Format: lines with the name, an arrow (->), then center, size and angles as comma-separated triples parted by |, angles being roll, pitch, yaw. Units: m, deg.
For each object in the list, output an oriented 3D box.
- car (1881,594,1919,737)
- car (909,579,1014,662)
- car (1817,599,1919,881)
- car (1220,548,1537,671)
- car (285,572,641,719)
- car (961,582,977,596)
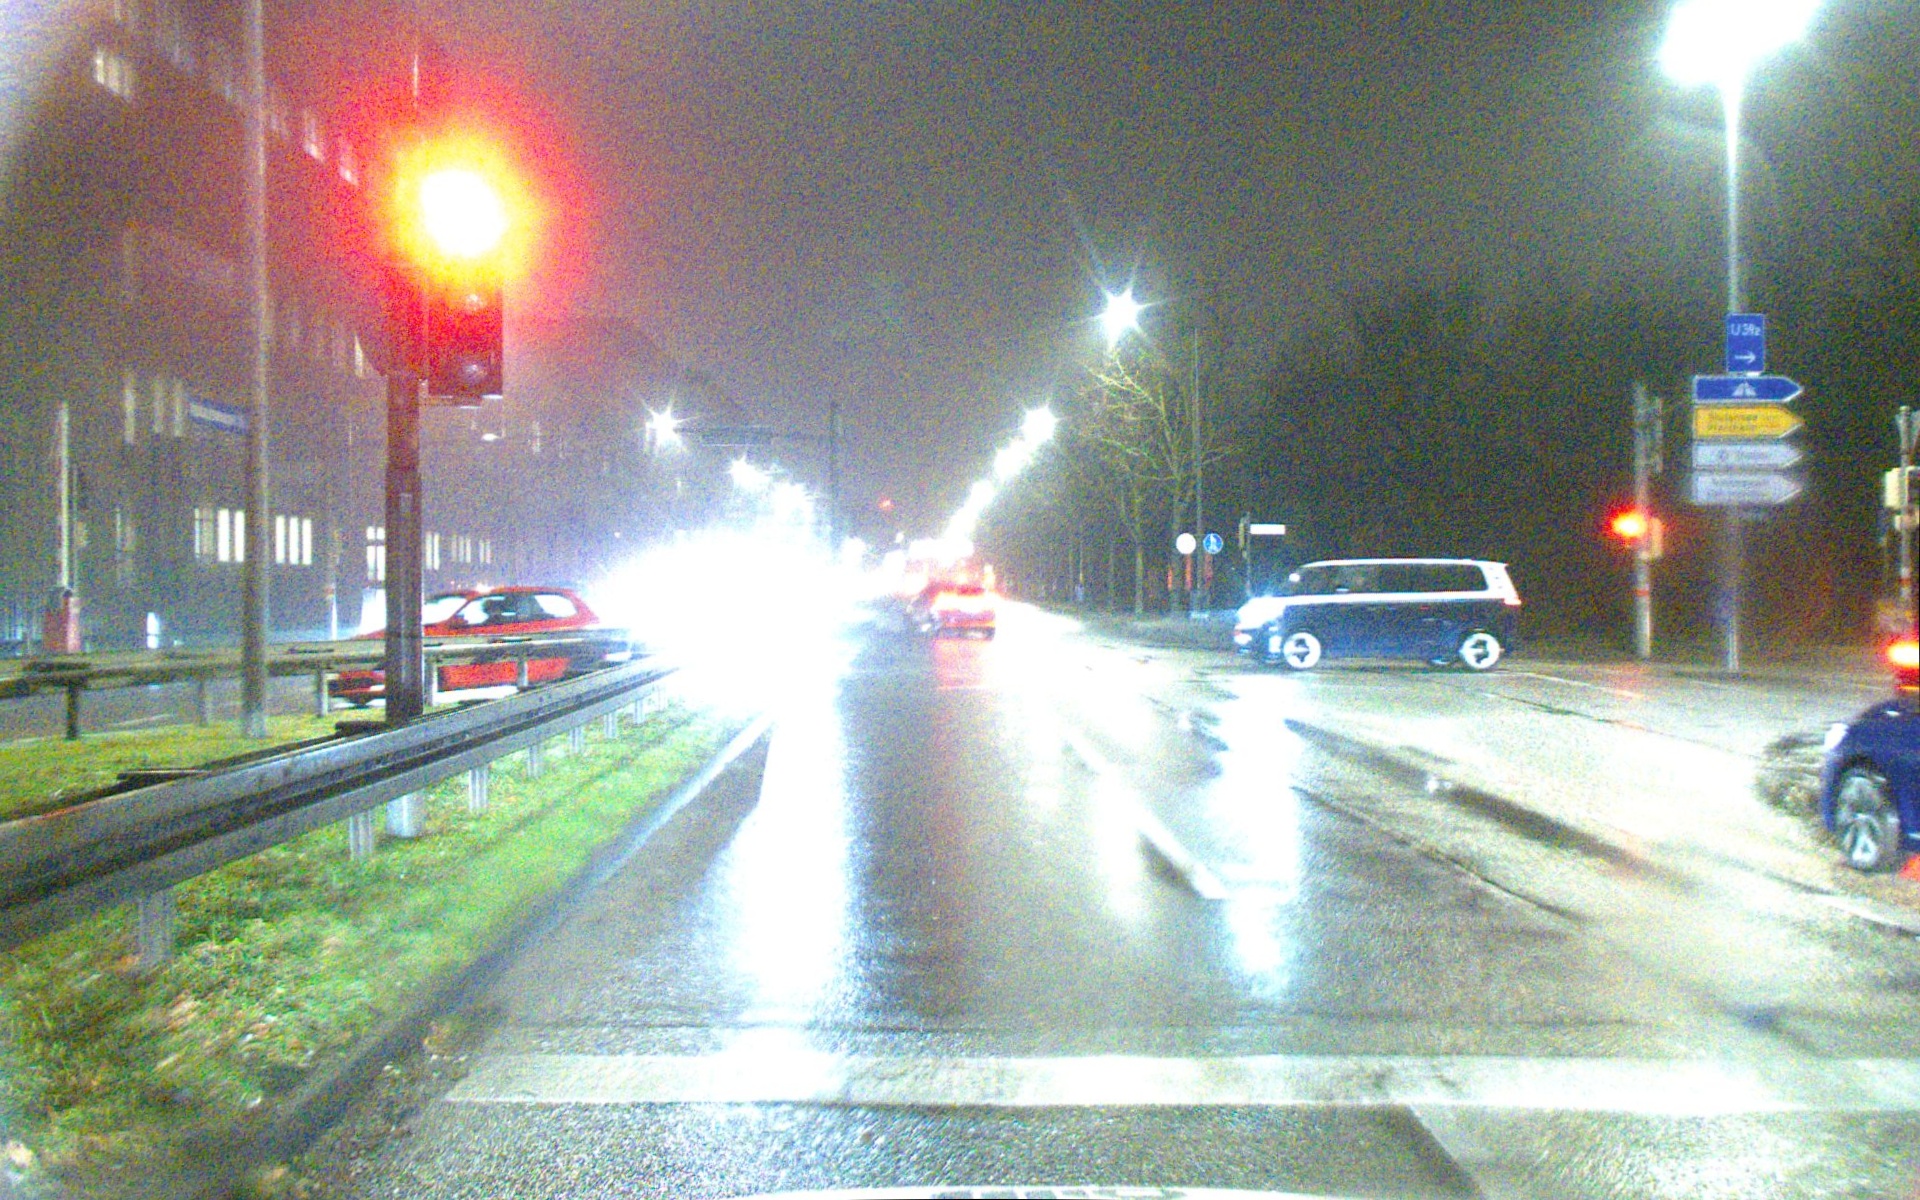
car -> 11.462, 0.670, 17.760 | 1.727, 1.414, 4.537 | 1, 1, 43
car -> -0.039, 0.558, 46.743 | 2.096, 2.182, 4.916 | 1, 0, -10
car -> 5.876, 0.739, 7.678 | 1.715, 1.456, 3.758 | 0, 0, -3
car -> 7.205, 0.147, 28.771 | 4.993, 2.019, 1.998 | 0, 0, -5
car -> -6.453, 0.524, 21.753 | 1.880, 1.615, 4.053 | -1, 2, 44
car -> 1.145, -1.384, 208.398 | 1.953, 1.790, 3.999 | 1, 0, -1
